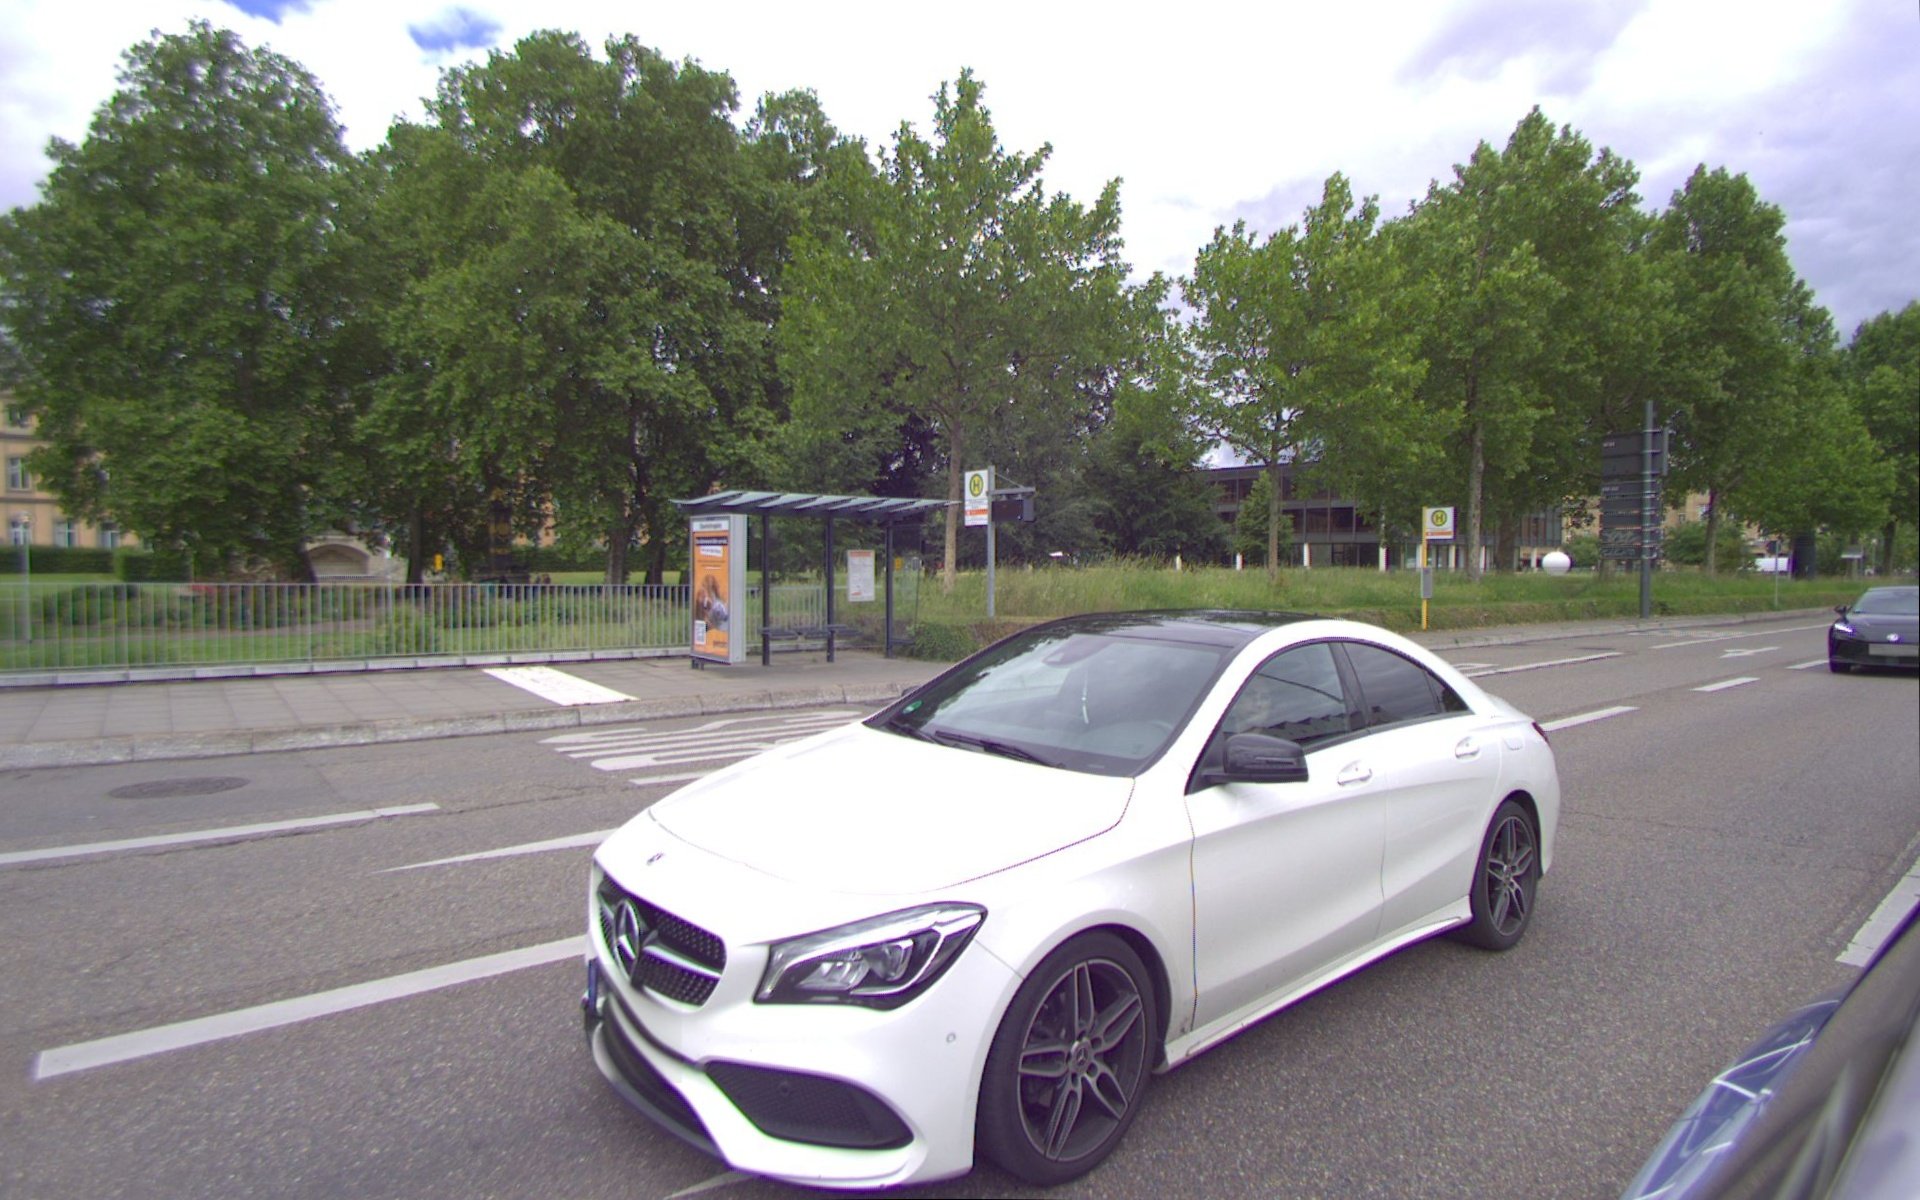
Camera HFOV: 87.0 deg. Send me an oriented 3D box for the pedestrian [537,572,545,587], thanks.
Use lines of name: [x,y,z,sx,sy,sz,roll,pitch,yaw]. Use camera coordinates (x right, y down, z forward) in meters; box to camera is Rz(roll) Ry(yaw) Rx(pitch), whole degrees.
pedestrian: [-36.620,-1.786,88.372,0.401,1.347,0.465,-1,0,21]

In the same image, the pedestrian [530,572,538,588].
pedestrian: [-37.328,-1.769,88.641,0.401,1.347,0.465,-1,0,21]

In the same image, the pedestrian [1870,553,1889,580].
pedestrian: [70.761,-2.554,77.857,1.160,2.039,0.891,-2,0,-40]

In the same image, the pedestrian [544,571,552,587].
pedestrian: [-35.800,-1.803,87.957,0.401,1.347,0.465,-1,0,21]

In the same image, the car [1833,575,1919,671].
car: [16.707,0.337,17.476,4.020,1.508,1.852,-1,2,-40]

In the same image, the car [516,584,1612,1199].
car: [0.803,0.684,4.081,4.446,1.437,1.799,-1,2,-39]
